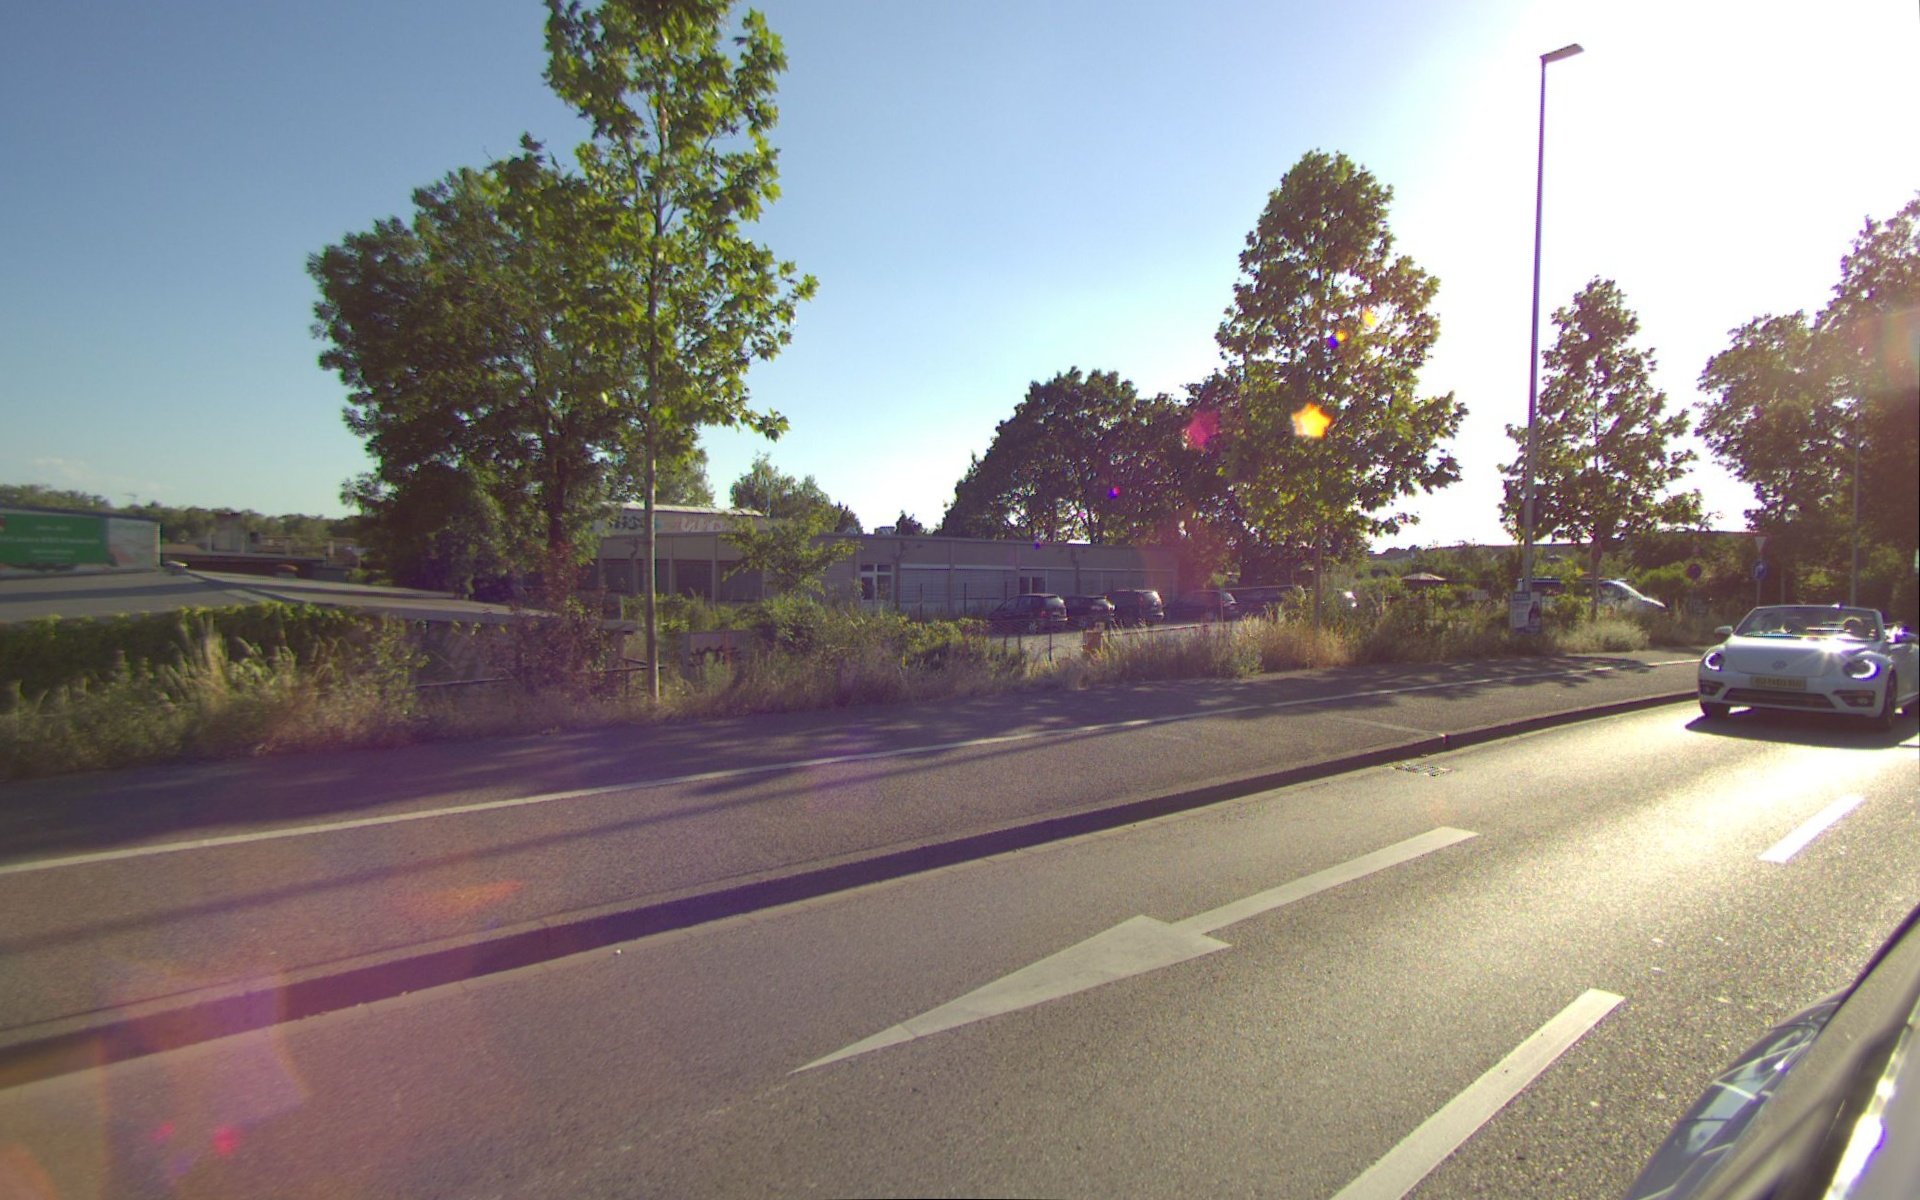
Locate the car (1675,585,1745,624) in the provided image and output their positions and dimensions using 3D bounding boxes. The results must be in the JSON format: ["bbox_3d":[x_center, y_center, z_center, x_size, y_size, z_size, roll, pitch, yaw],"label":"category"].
[{"bbox_3d":[34.902,0.191,47.041,4.088,1.668,1.995,0,2,-45],"label":"car"}]

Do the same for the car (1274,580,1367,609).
[{"bbox_3d":[20.371,-0.296,57.322,1.828,1.589,4.652,0,-1,-44],"label":"car"}]

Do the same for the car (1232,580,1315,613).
[{"bbox_3d":[16.500,-0.179,53.390,1.636,1.661,3.869,0,-1,-42],"label":"car"}]

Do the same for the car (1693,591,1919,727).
[{"bbox_3d":[11.077,0.635,12.915,3.908,1.441,1.856,0,1,-39],"label":"car"}]

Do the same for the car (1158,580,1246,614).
[{"bbox_3d":[12.123,-0.133,50.841,1.657,1.606,4.022,0,-1,-44],"label":"car"}]

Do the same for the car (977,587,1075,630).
[{"bbox_3d":[2.638,0.309,41.184,1.701,1.575,3.784,-4,4,-45],"label":"car"}]

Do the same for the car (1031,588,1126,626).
[{"bbox_3d":[5.017,0.268,43.107,3.784,1.413,1.712,1,4,45],"label":"car"}]

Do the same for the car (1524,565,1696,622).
[{"bbox_3d":[25.276,-0.221,39.515,2.068,2.048,5.341,0,-1,-43],"label":"car"}]

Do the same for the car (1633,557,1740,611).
[{"bbox_3d":[37.846,-0.839,52.688,5.814,2.654,2.941,0,2,-38],"label":"car"}]

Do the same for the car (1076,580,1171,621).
[{"bbox_3d":[7.212,0.023,44.897,1.678,1.687,3.912,-2,1,-43],"label":"car"}]
